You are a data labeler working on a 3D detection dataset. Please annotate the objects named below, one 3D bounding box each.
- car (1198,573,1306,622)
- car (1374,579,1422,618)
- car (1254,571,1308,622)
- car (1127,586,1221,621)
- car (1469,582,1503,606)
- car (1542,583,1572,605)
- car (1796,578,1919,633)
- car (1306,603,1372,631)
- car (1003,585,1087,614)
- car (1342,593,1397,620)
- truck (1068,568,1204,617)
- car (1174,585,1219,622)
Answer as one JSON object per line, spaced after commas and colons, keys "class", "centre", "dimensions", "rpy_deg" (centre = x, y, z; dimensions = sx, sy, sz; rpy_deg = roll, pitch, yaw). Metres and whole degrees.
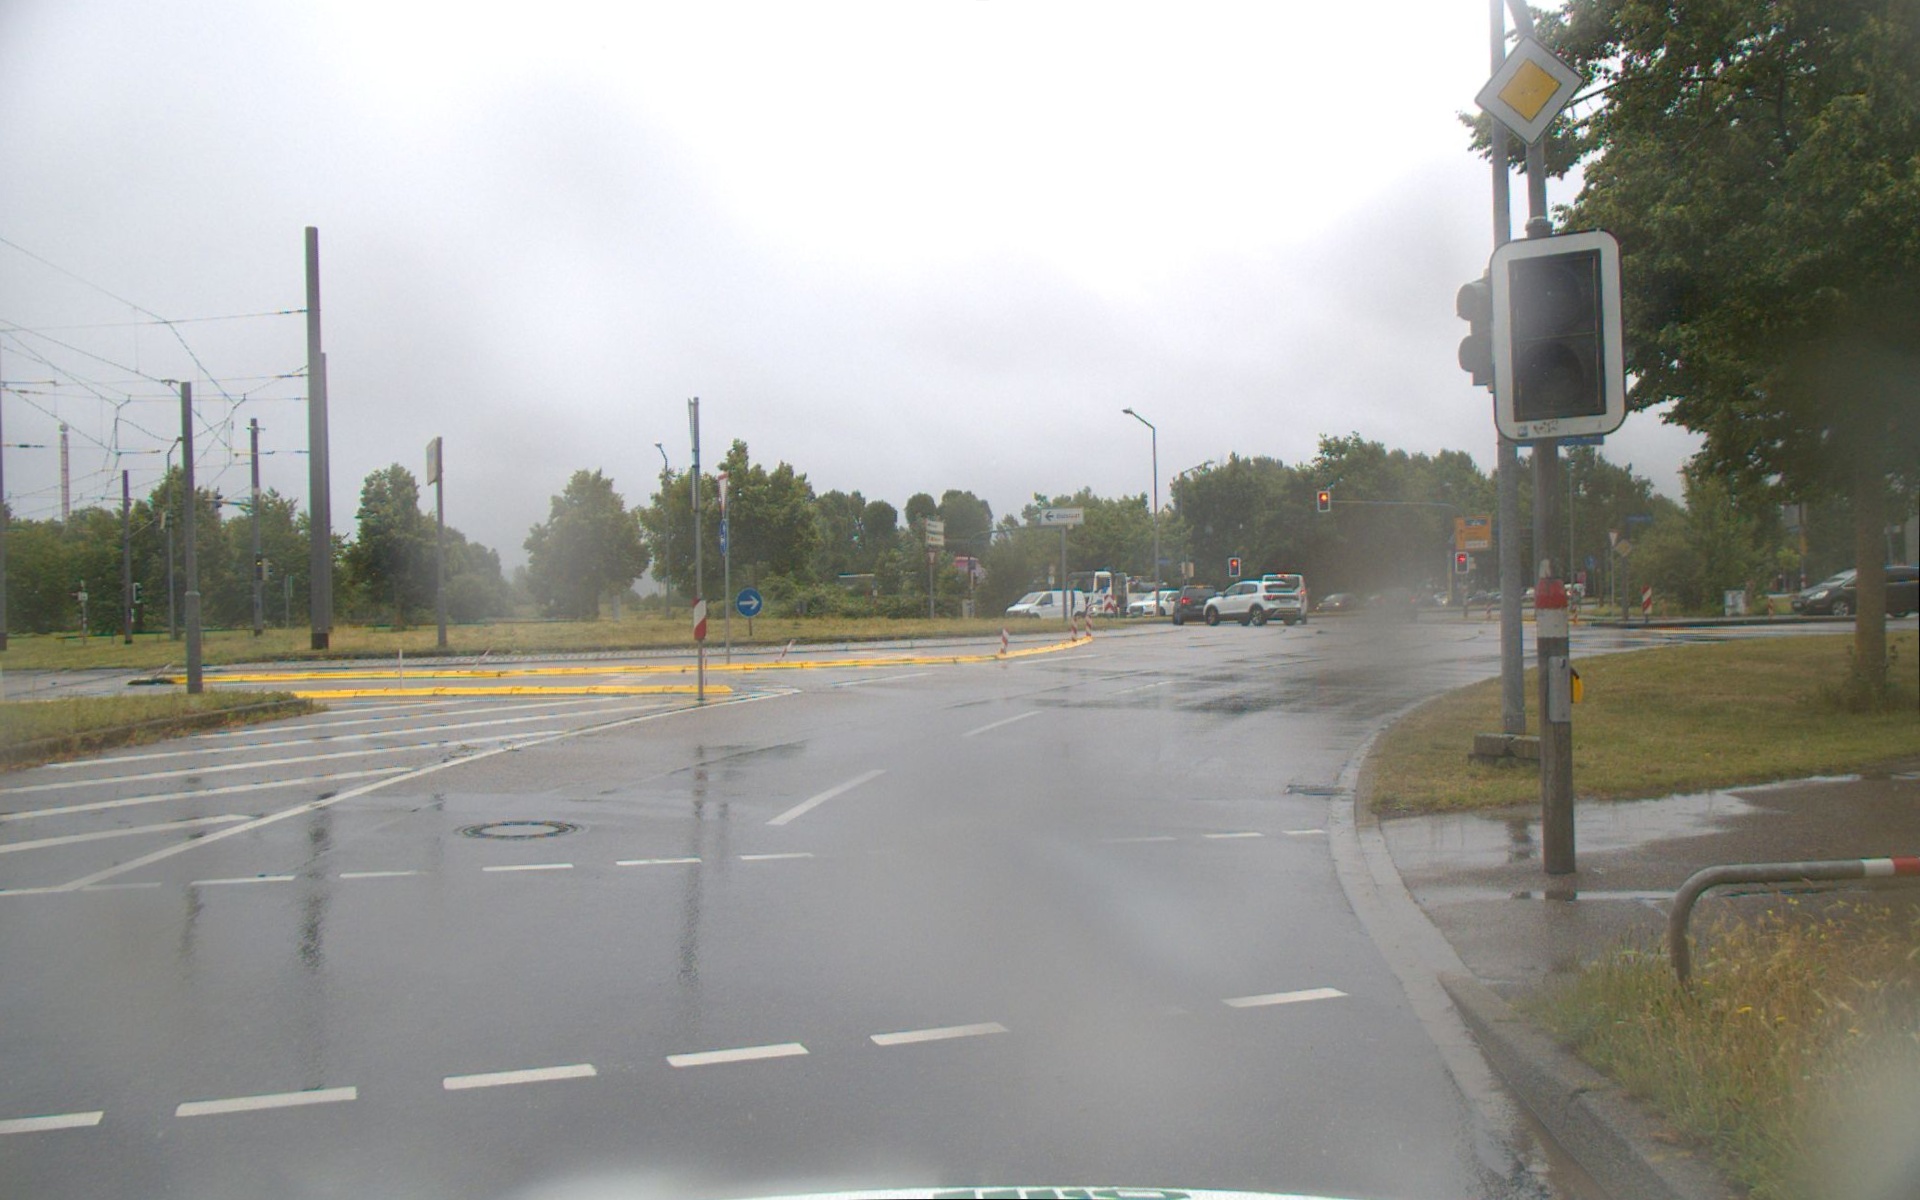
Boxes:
{"class": "car", "centre": [10.592, -0.092, 60.165], "dimensions": [1.665, 1.676, 3.902], "rpy_deg": [1, 0, -33]}
{"class": "car", "centre": [18.053, -0.073, 68.266], "dimensions": [1.652, 1.518, 3.254], "rpy_deg": [-1, 0, 10]}
{"class": "car", "centre": [13.330, -0.131, 68.904], "dimensions": [1.746, 2.072, 4.002], "rpy_deg": [1, 0, 4]}
{"class": "car", "centre": [11.575, 0.193, 89.426], "dimensions": [4.748, 1.774, 1.779], "rpy_deg": [1, 0, 17]}
{"class": "car", "centre": [45.981, -0.497, 144.664], "dimensions": [1.758, 2.049, 3.659], "rpy_deg": [1, 0, 36]}
{"class": "car", "centre": [57.303, -0.588, 158.843], "dimensions": [1.758, 2.049, 3.659], "rpy_deg": [1, 0, 36]}
{"class": "car", "centre": [28.901, 0.191, 52.445], "dimensions": [3.903, 1.676, 1.790], "rpy_deg": [1, 0, 4]}
{"class": "car", "centre": [24.778, 1.123, 108.042], "dimensions": [4.821, 1.774, 1.752], "rpy_deg": [1, 0, -41]}
{"class": "car", "centre": [4.620, -0.016, 89.658], "dimensions": [4.495, 1.518, 1.592], "rpy_deg": [1, 0, -35]}
{"class": "car", "centre": [28.020, 0.441, 113.104], "dimensions": [1.965, 1.780, 3.975], "rpy_deg": [1, 0, 42]}
{"class": "truck", "centre": [10.532, -0.410, 98.385], "dimensions": [8.680, 2.759, 1.979], "rpy_deg": [1, -1, -31]}
{"class": "car", "centre": [10.117, 0.151, 70.850], "dimensions": [1.653, 1.518, 3.253], "rpy_deg": [1, 0, 4]}
